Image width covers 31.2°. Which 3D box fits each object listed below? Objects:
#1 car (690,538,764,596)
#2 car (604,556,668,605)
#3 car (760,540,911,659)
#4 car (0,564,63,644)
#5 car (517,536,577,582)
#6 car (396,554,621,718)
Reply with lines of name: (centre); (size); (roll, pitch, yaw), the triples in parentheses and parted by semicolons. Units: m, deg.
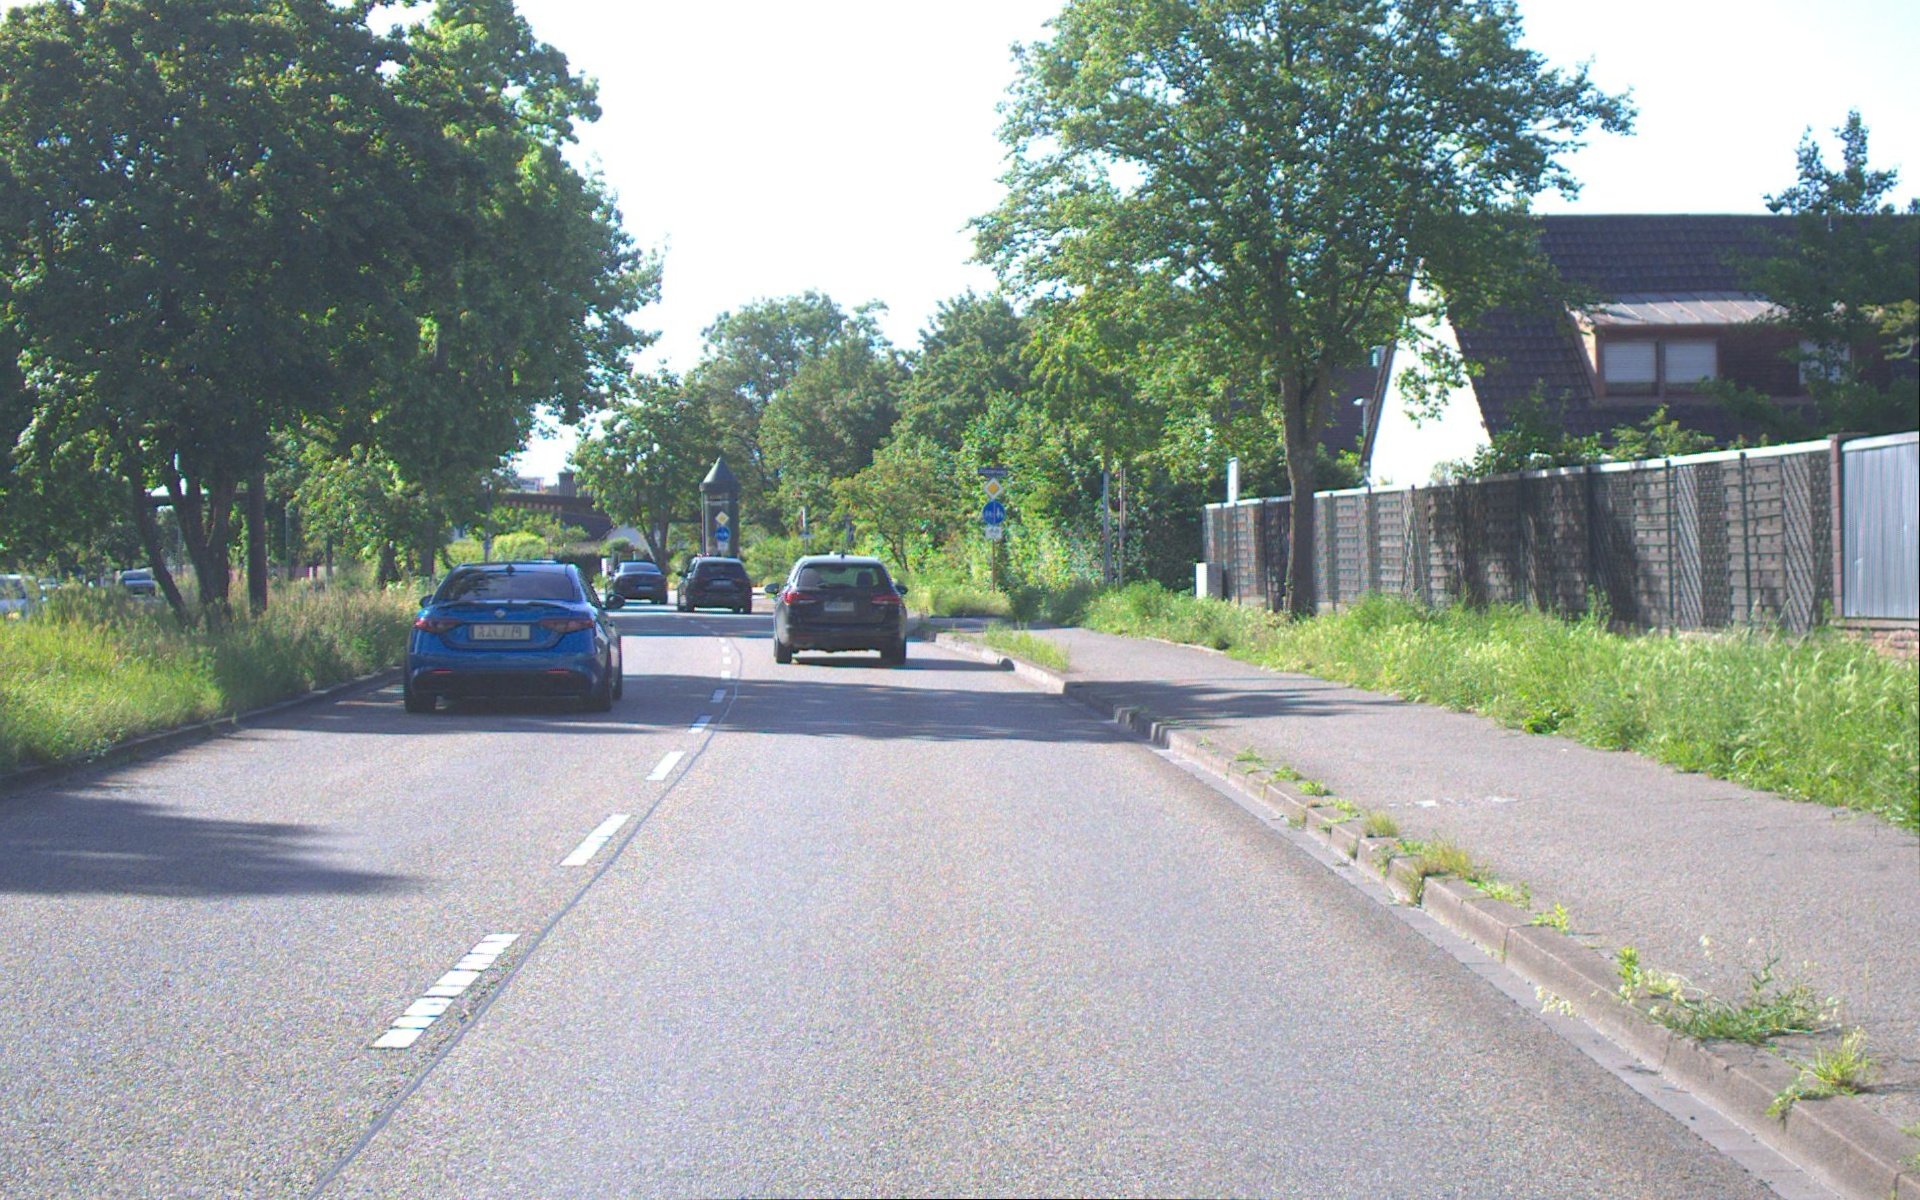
car: (-6.475, -0.924, 95.335); (1.915, 1.574, 4.183); (0, 1, -5)
car: (-11.230, -0.688, 118.982); (1.915, 1.672, 4.013); (0, 1, -9)
car: (-1.763, -0.041, 47.598); (1.915, 1.574, 4.183); (0, 1, -4)
car: (-19.014, 0.092, 67.746); (1.669, 1.462, 4.180); (-3, 1, -2)
car: (-13.961, -1.388, 116.180); (1.915, 1.507, 4.069); (0, 1, -8)
car: (-4.269, 0.312, 33.036); (1.838, 1.469, 4.185); (0, 0, -3)
